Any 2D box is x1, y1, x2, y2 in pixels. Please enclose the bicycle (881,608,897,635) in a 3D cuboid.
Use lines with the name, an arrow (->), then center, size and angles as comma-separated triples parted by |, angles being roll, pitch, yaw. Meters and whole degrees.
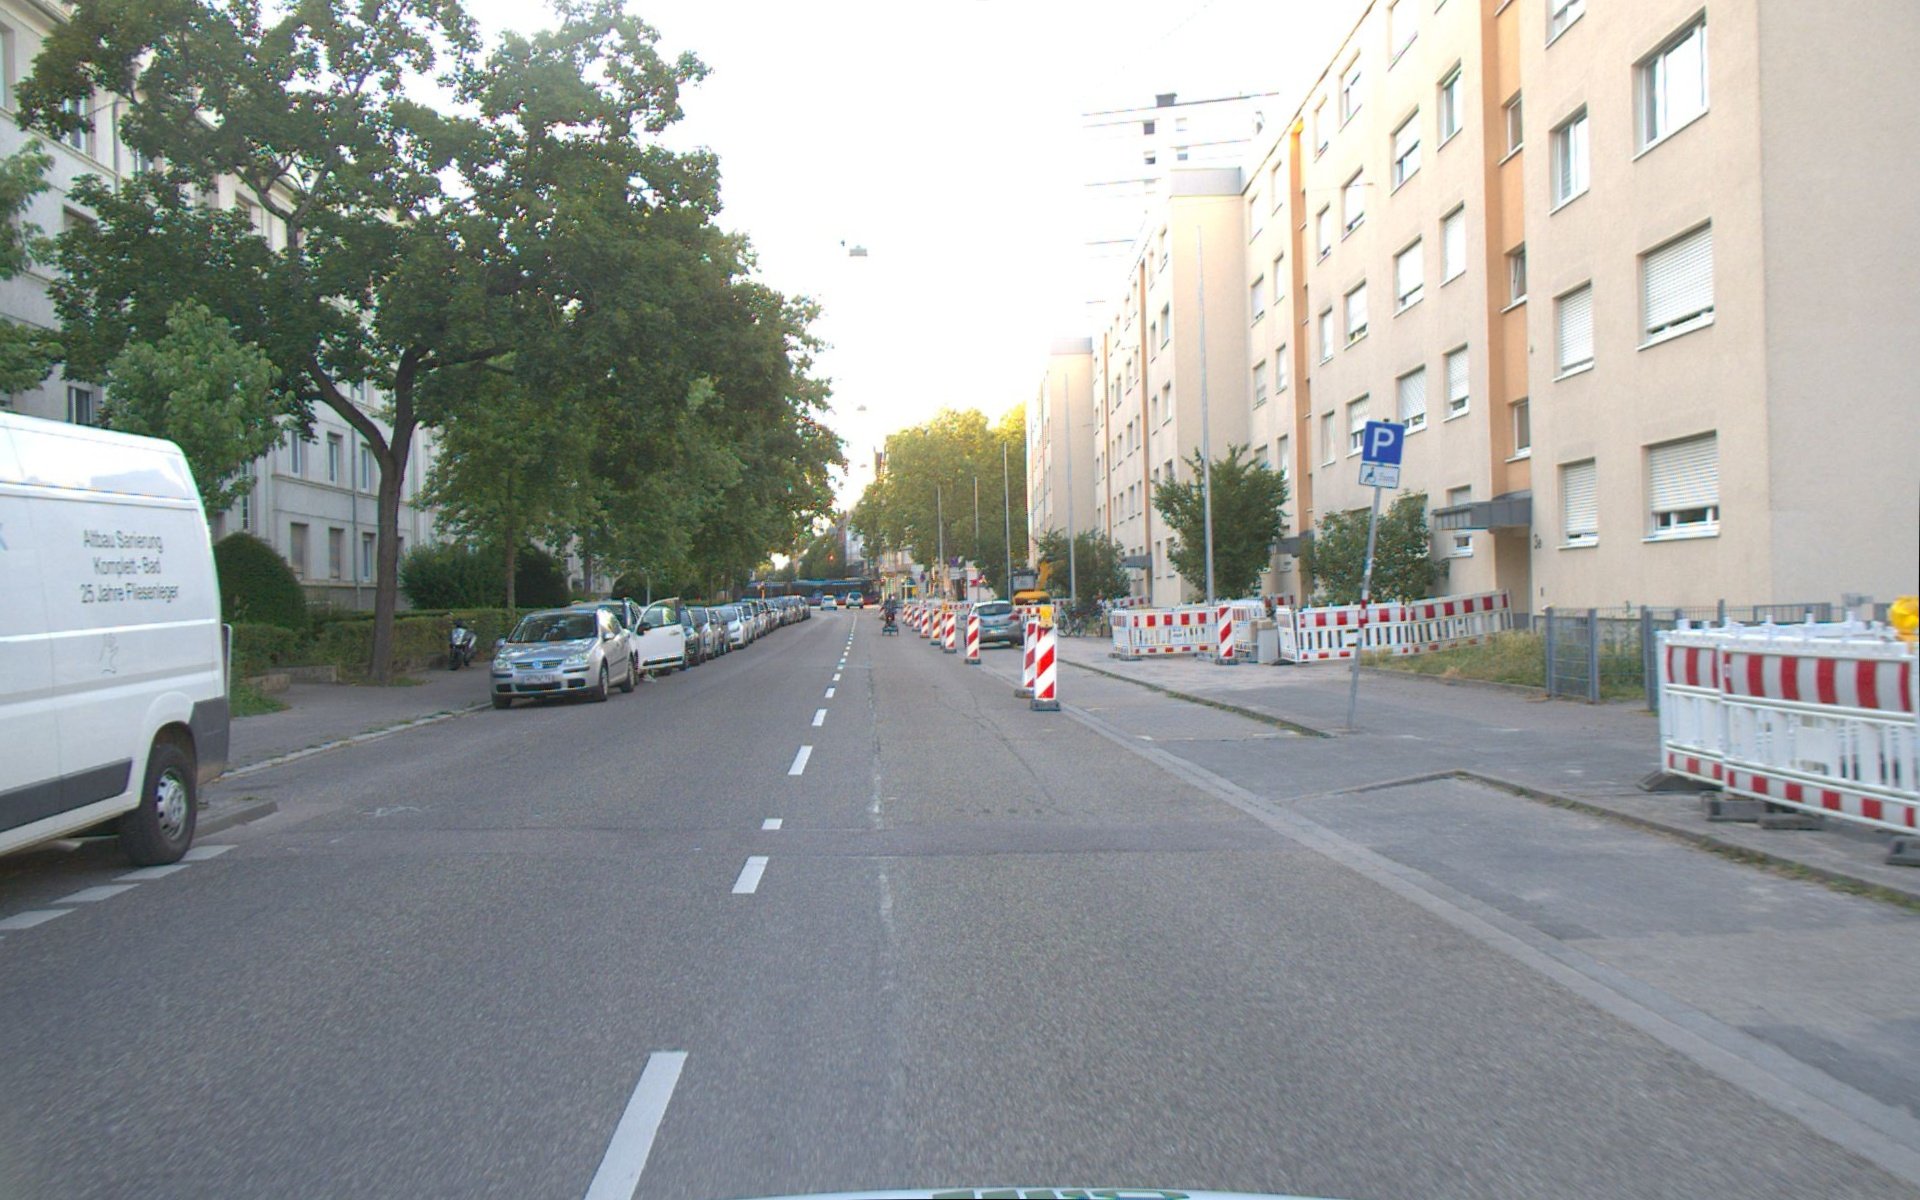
bicycle -> -3.169, 0.949, 73.706 | 0.628, 1.134, 3.054 | -2, 0, -3

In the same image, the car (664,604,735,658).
car -> -8.040, 0.934, 51.312 | 1.721, 1.468, 3.452 | -4, 0, -3

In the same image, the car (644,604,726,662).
car -> -7.745, 0.905, 46.875 | 1.743, 1.448, 3.744 | -4, 0, -3

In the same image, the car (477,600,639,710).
car -> -6.390, 0.821, 26.699 | 1.721, 1.509, 3.925 | -4, 0, -3

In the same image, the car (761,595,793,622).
car -> -10.974, 0.487, 99.185 | 1.620, 1.468, 3.452 | -4, 0, -3

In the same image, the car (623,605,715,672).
car -> -7.333, 0.937, 41.947 | 1.721, 1.468, 3.925 | -4, 0, -3

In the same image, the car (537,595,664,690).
car -> -7.012, 0.787, 32.617 | 1.721, 1.631, 3.925 | -4, 0, -3

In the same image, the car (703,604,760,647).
car -> -8.573, 0.938, 62.270 | 1.721, 1.468, 3.452 | -4, 0, -3

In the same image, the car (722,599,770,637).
car -> -9.372, 0.775, 72.650 | 1.721, 1.468, 3.452 | -4, 0, -3

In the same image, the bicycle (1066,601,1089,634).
bicycle -> 4.222, 0.622, 59.523 | 0.604, 1.126, 2.234 | -2, 0, -1

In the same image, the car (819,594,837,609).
car -> -14.198, 0.115, 177.927 | 1.722, 1.468, 3.450 | -4, 0, -5

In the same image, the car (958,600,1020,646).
car -> 0.915, 0.731, 54.248 | 1.744, 1.414, 3.997 | -2, 0, -3

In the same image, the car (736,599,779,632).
car -> -9.896, 0.753, 81.035 | 1.721, 1.468, 3.452 | -4, 0, -3

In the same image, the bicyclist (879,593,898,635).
bicyclist -> -3.214, 0.627, 74.257 | 0.775, 1.831, 1.017 | -2, 0, -3

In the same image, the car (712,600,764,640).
car -> -9.107, 0.797, 67.983 | 1.721, 1.468, 3.452 | -4, 0, -3

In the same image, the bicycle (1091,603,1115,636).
bicycle -> 5.096, 0.683, 59.036 | 0.604, 1.126, 2.234 | -2, 0, -1

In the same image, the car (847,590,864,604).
car -> -11.901, -0.351, 188.805 | 1.662, 1.468, 3.449 | -4, 0, -6

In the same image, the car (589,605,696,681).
car -> -7.058, 0.912, 37.089 | 1.721, 1.468, 3.925 | -4, 0, -3

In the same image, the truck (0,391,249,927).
truck -> -5.446, 0.306, 7.475 | 2.060, 2.465, 6.042 | -3, 0, -3

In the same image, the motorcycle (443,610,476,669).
motorcycle -> -11.752, 0.912, 38.831 | 0.403, 1.355, 1.296 | -2, 0, -3

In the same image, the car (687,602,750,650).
car -> -8.261, 0.864, 56.897 | 1.721, 1.468, 3.452 | -4, 0, -3

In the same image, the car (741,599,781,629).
car -> -10.549, 0.730, 87.858 | 1.721, 1.468, 3.452 | -4, 0, -3

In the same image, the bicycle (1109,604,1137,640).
bicycle -> 5.226, 0.696, 53.039 | 0.604, 1.126, 2.234 | -2, 0, -1
